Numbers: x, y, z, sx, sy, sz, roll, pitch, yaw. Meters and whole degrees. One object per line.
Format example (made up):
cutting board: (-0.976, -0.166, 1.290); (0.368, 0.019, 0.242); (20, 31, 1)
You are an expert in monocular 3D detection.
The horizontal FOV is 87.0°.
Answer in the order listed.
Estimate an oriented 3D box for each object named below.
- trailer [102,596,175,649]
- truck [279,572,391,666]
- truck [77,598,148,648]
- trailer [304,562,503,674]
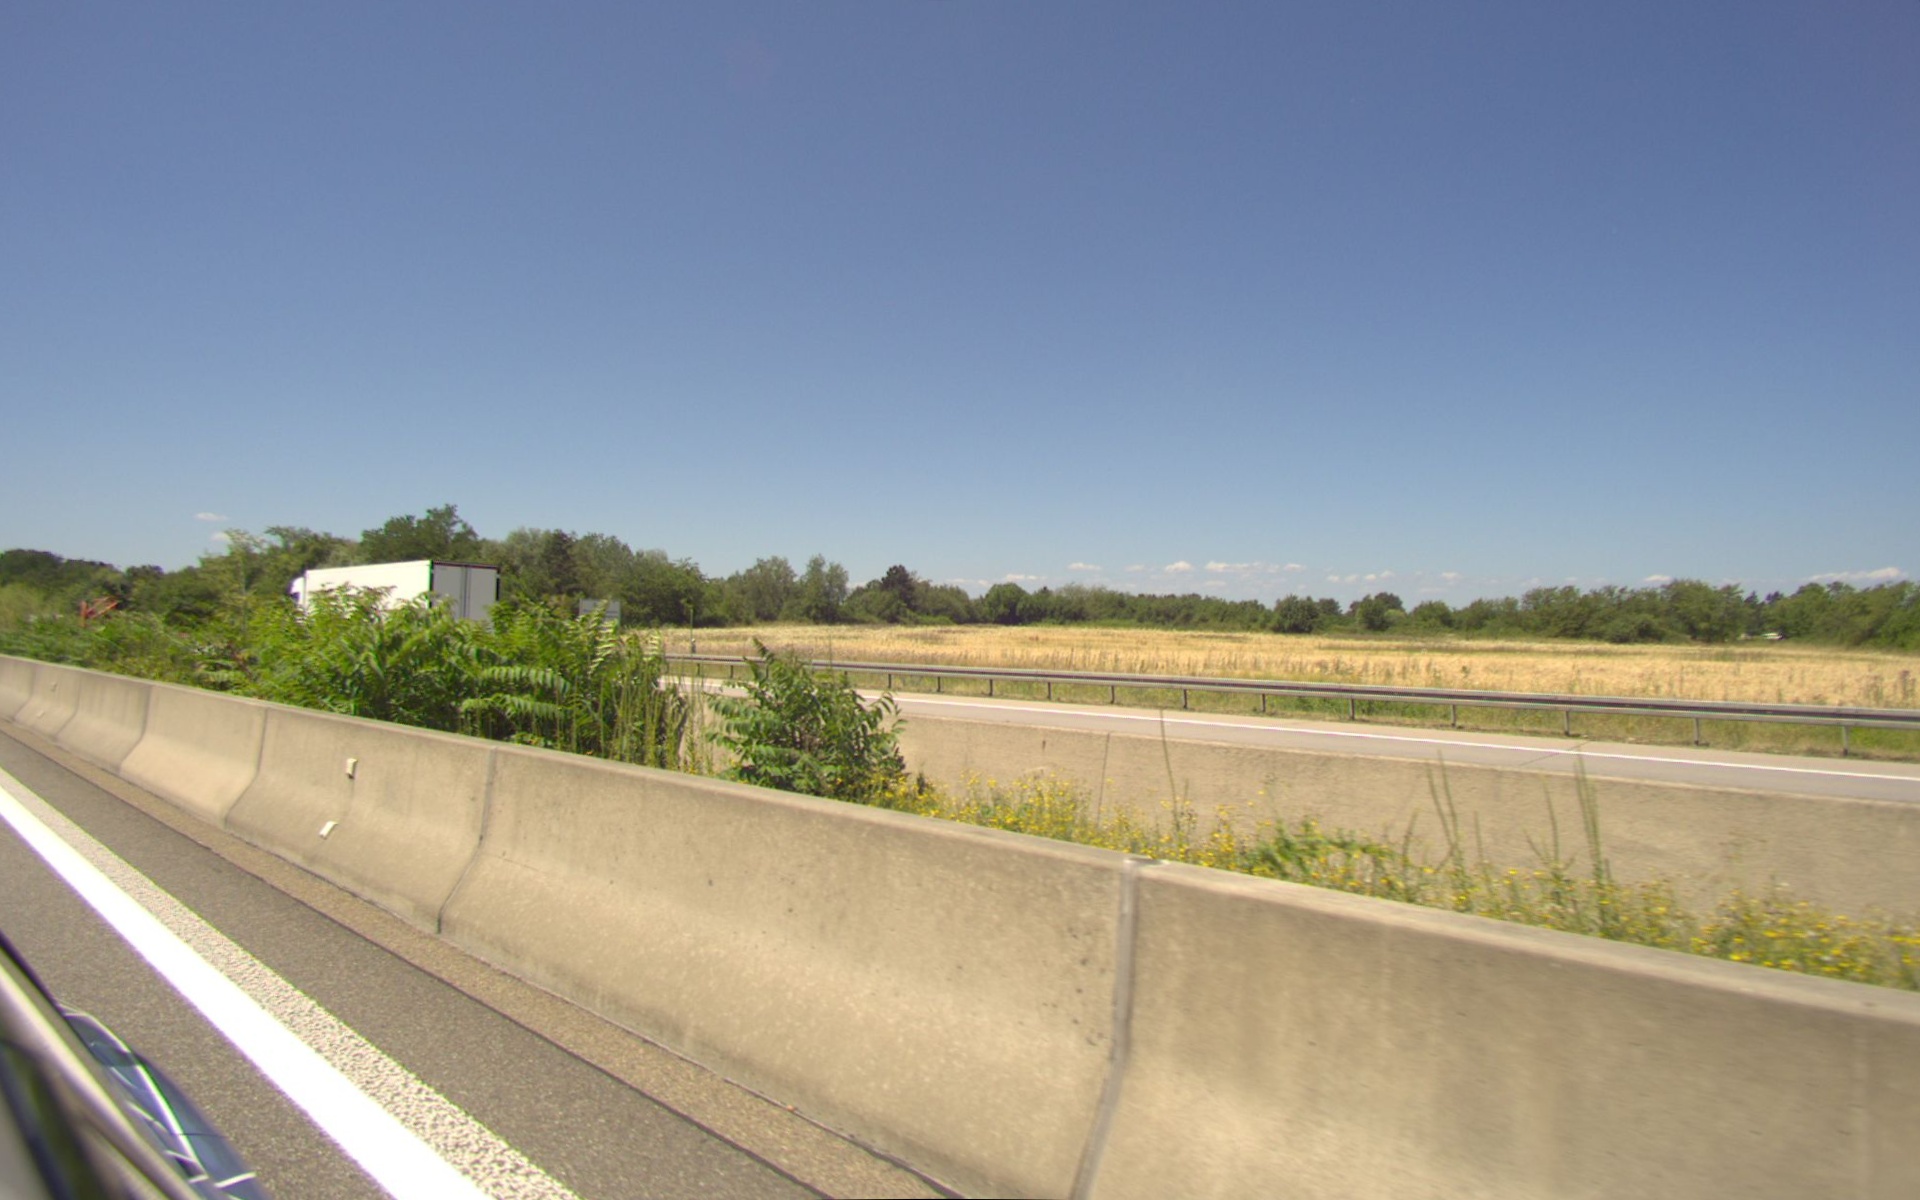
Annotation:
trailer: (-60.949, 1.718, 74.980); (8.531, 3.689, 2.625); (-1, -4, 41)
truck: (-28.777, 0.917, 46.541); (5.751, 4.045, 2.653); (-1, -3, 40)
truck: (-68.010, 1.875, 81.114); (10.183, 3.689, 2.625); (-1, -4, 41)
trailer: (-23.323, 0.792, 41.870); (12.958, 4.045, 2.667); (-1, -3, 40)
